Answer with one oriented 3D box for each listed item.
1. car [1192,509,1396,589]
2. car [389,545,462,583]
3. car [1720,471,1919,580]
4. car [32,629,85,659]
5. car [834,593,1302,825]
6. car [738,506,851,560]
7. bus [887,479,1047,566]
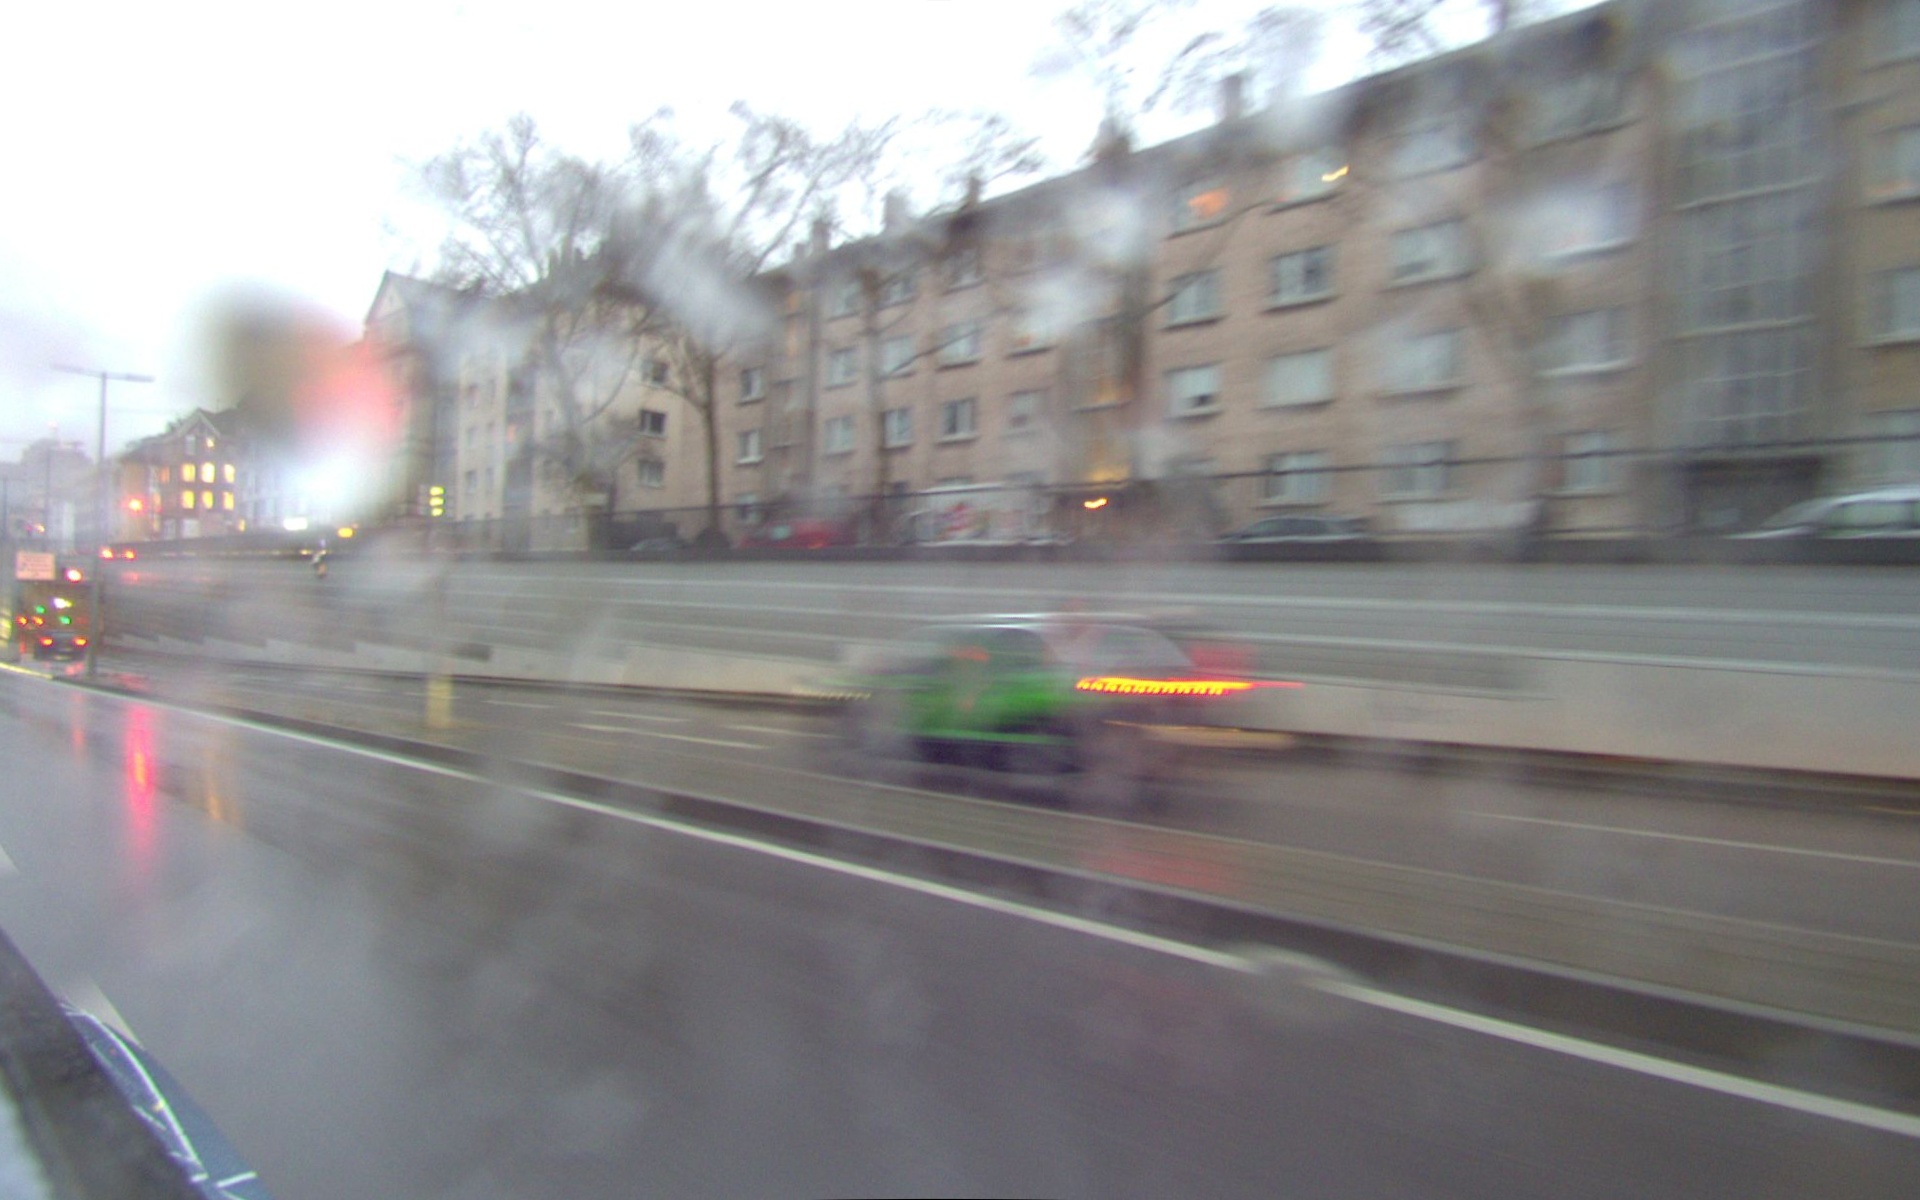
[{"bbox_3d":[7.150,-1.045,21.891,3.876,1.484,1.549,1,-3,41],"label":"car"},{"bbox_3d":[-22.295,-1.466,42.161,3.405,1.408,1.548,1,-3,42],"label":"car"},{"bbox_3d":[14.179,-1.117,15.779,3.624,1.484,1.549,1,-3,41],"label":"car"},{"bbox_3d":[-46.207,2.240,51.851,3.685,1.482,1.555,-2,-3,42],"label":"car"},{"bbox_3d":[0.820,0.858,9.002,3.841,1.604,1.766,-2,-5,43],"label":"car"},{"bbox_3d":[-5.479,-2.172,33.337,3.877,1.484,1.548,1,-3,42],"label":"car"},{"bbox_3d":[0.119,-1.926,26.225,4.065,1.884,1.676,1,-3,44],"label":"bus"}]
